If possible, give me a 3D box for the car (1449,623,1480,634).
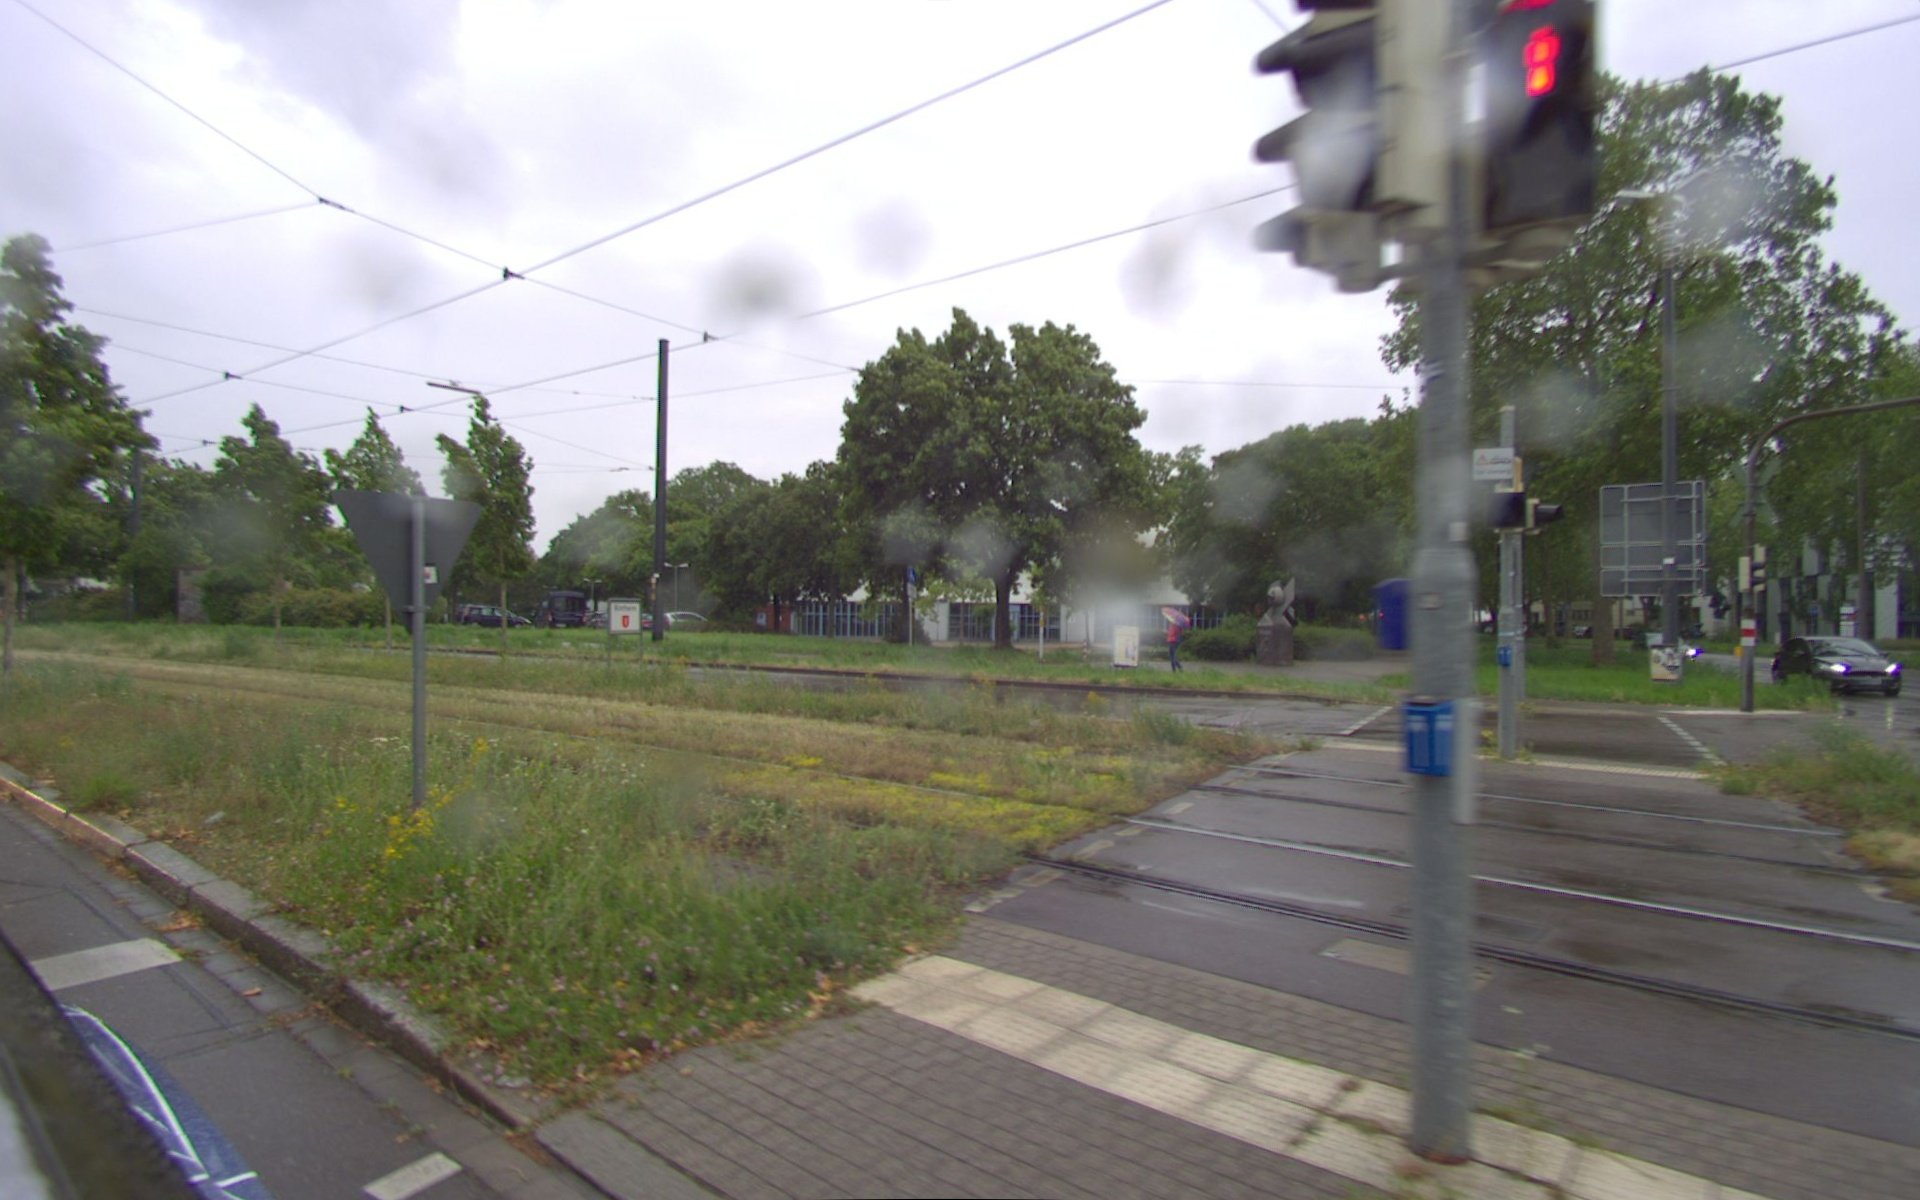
[{"bbox_3d":[77.223,4.371,155.015,3.826,1.515,1.887,0,0,1],"label":"car"}]

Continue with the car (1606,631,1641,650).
[{"bbox_3d":[68.851,4.150,105.035,1.983,1.796,3.977,0,0,18],"label":"car"}]

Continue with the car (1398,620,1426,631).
[{"bbox_3d":[78.089,4.475,174.856,3.946,1.834,1.999,0,0,2],"label":"car"}]

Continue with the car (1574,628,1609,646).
[{"bbox_3d":[69.959,4.086,112.159,1.980,1.796,3.984,0,0,13],"label":"car"}]

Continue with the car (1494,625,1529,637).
[{"bbox_3d":[76.942,4.302,141.309,3.833,1.663,1.884,0,0,6],"label":"car"}]

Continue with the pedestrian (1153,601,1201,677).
[{"bbox_3d":[5.894,1.041,27.520,1.005,2.005,0.943,0,0,33],"label":"pedestrian"}]

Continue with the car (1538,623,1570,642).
[{"bbox_3d":[72.495,3.933,123.633,2.105,2.104,3.987,0,0,11],"label":"car"}]

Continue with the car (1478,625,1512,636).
[{"bbox_3d":[76.900,4.380,145.447,3.826,1.504,1.887,0,0,1],"label":"car"}]

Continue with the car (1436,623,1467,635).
[{"bbox_3d":[77.777,4.523,160.102,3.942,1.845,2.001,0,0,-2],"label":"car"}]

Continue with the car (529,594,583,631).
[{"bbox_3d":[-23.071,0.684,57.621,2.273,2.029,5.134,0,0,-29],"label":"car"}]

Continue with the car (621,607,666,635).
[{"bbox_3d":[-18.999,1.221,60.651,2.026,1.584,5.032,0,0,-24],"label":"car"}]

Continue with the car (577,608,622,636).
[{"bbox_3d":[-21.187,1.236,59.364,1.726,1.542,4.864,0,0,-29],"label":"car"}]

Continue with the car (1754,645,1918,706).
[{"bbox_3d":[22.403,1.881,26.093,1.792,1.412,4.282,-2,-3,21],"label":"car"}]

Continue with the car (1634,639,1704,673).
[{"bbox_3d":[31.560,2.475,45.177,1.795,1.417,4.421,0,-3,25],"label":"car"}]

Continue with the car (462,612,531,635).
[{"bbox_3d":[-30.816,1.542,67.290,4.110,1.494,1.789,0,0,-26],"label":"car"}]
